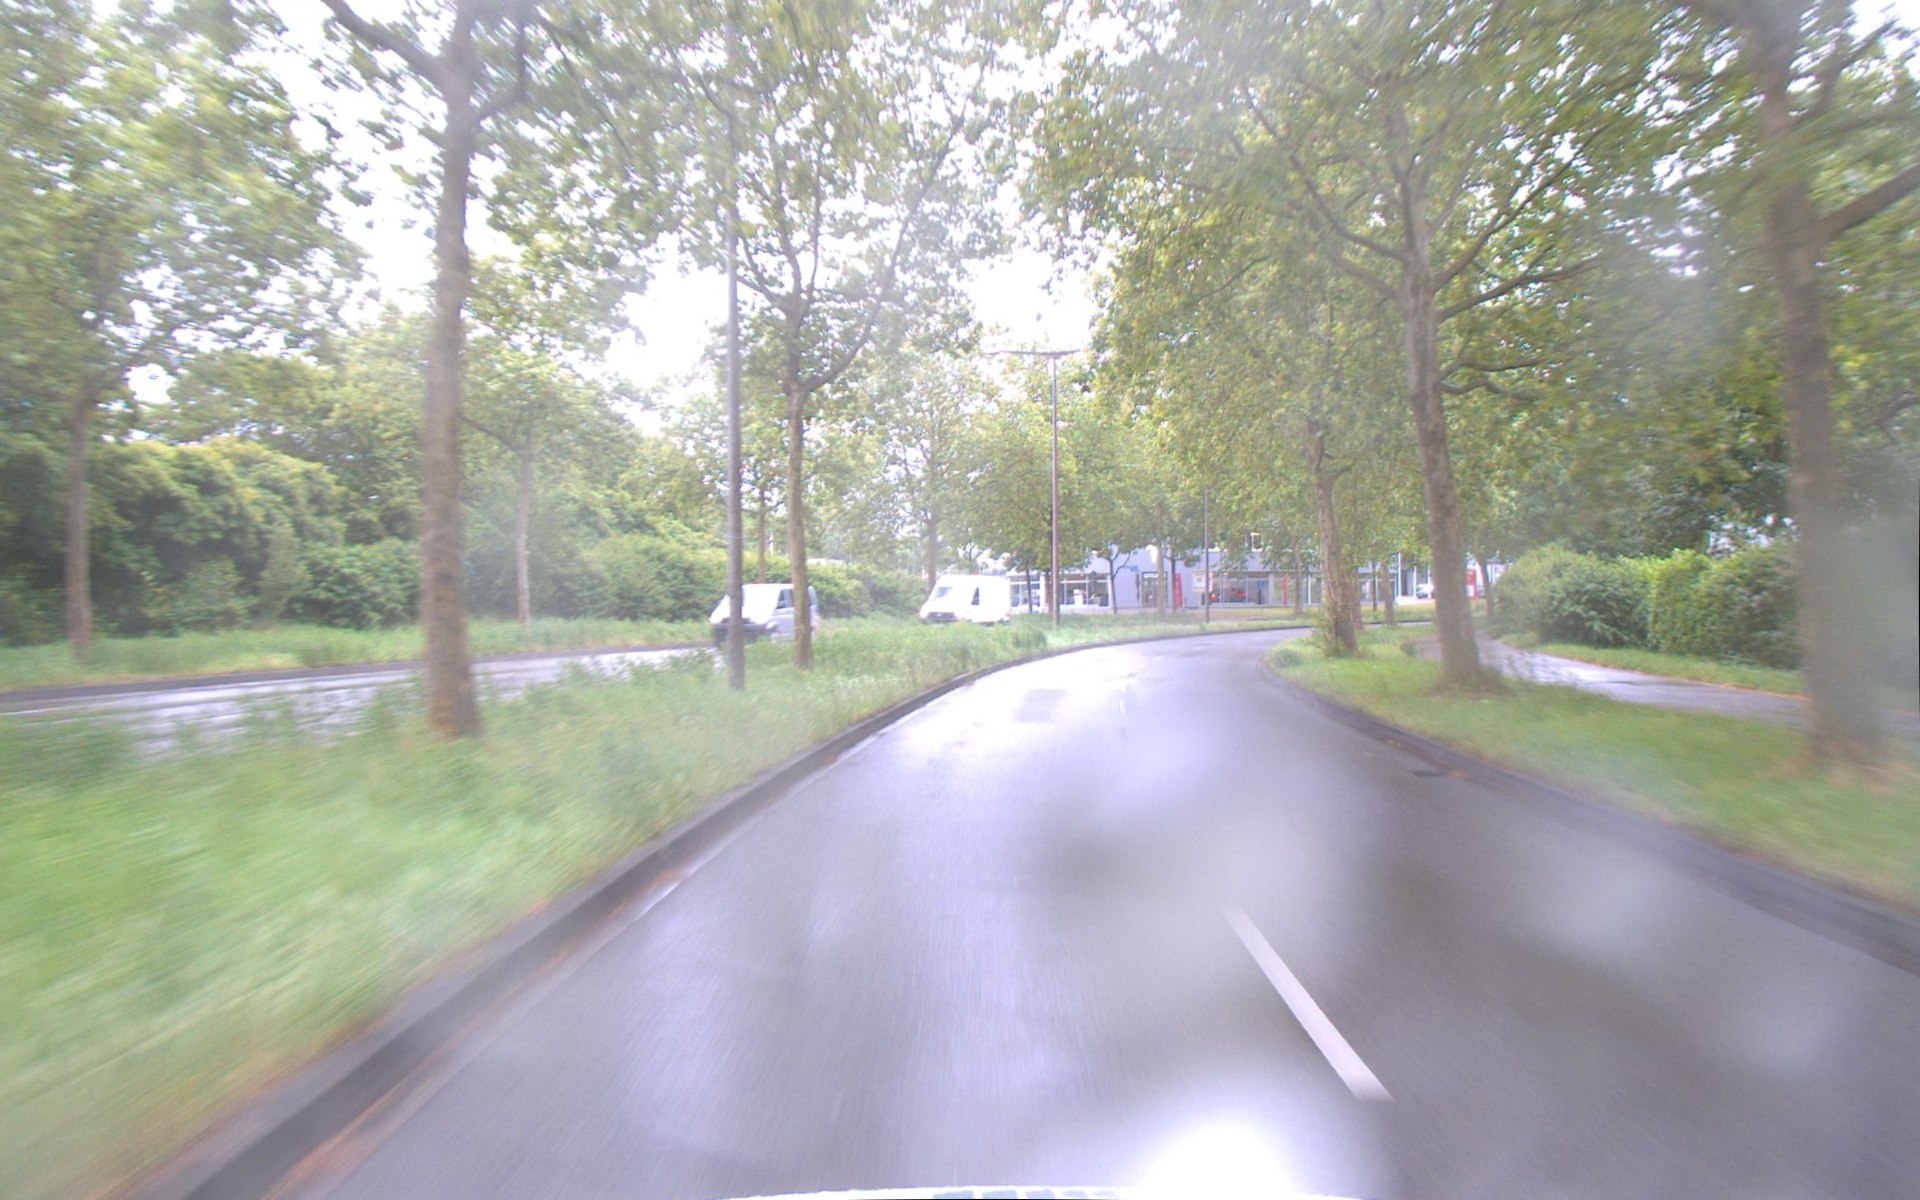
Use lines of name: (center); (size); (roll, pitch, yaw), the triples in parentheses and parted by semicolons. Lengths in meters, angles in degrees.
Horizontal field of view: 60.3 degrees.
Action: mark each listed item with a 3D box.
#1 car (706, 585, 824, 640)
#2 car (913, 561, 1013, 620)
car: (-5.939, 0.350, 50.933); (1.930, 1.591, 4.734); (-1, 0, 16)
car: (0.200, -0.419, 69.599); (2.235, 2.311, 5.968); (-1, 0, 21)
